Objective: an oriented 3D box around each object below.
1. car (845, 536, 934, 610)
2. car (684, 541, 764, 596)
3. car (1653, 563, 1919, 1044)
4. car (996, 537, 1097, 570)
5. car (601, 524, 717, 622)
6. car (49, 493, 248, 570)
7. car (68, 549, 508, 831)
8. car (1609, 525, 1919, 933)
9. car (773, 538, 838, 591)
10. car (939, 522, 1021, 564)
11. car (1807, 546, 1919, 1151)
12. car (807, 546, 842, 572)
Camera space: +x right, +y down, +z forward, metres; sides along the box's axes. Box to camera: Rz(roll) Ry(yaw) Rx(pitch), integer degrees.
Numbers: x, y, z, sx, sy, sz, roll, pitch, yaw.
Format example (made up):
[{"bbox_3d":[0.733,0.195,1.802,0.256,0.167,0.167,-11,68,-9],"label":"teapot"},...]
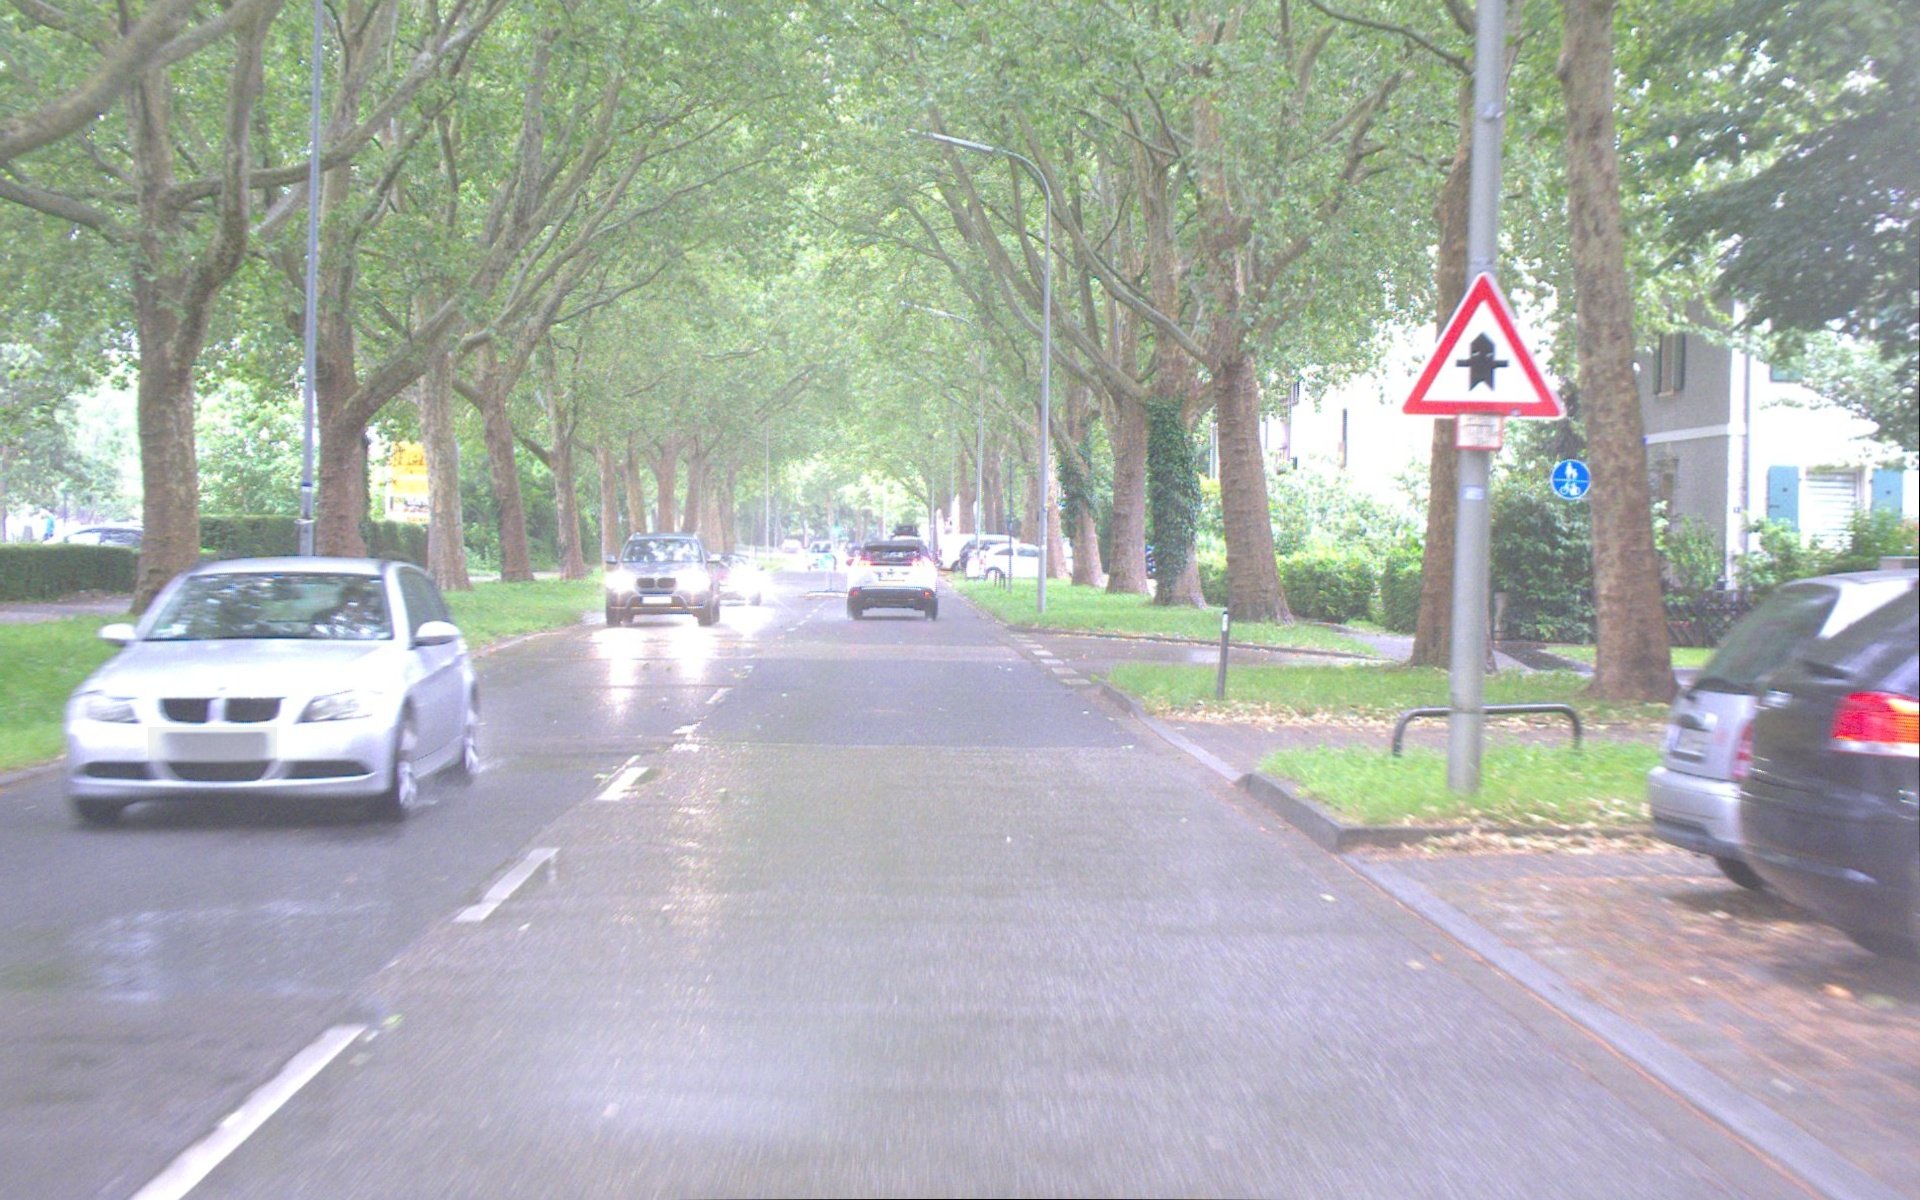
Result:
[{"bbox_3d":[-1.402,-0.561,68.631,1.706,1.406,3.645,-1,1,-1],"label":"car"},{"bbox_3d":[-5.633,-0.777,82.360,1.706,1.246,3.645,-1,1,-1],"label":"car"},{"bbox_3d":[4.456,0.636,11.298,3.987,1.433,1.679,1,1,0],"label":"car"},{"bbox_3d":[3.152,-1.691,125.618,3.546,1.151,1.712,-1,1,-3],"label":"car"},{"bbox_3d":[-5.377,-0.519,61.892,1.809,1.678,4.449,0,1,-2],"label":"car"},{"bbox_3d":[-18.146,-1.533,76.999,3.987,1.617,2.000,1,1,0],"label":"car"},{"bbox_3d":[-3.724,0.424,19.783,1.678,1.384,4.549,0,1,-1],"label":"car"},{"bbox_3d":[4.856,0.504,14.234,3.987,1.573,1.679,1,1,0],"label":"car"},{"bbox_3d":[-4.286,-0.994,95.652,1.706,1.406,3.645,-1,1,-1],"label":"car"},{"bbox_3d":[0.898,-2.564,153.415,3.546,1.835,1.712,-1,1,-2],"label":"car"},{"bbox_3d":[4.466,0.652,8.803,4.100,1.508,1.865,1,1,0],"label":"car"},{"bbox_3d":[-7.159,-2.168,181.912,1.720,1.250,4.000,2,1,0],"label":"car"}]
